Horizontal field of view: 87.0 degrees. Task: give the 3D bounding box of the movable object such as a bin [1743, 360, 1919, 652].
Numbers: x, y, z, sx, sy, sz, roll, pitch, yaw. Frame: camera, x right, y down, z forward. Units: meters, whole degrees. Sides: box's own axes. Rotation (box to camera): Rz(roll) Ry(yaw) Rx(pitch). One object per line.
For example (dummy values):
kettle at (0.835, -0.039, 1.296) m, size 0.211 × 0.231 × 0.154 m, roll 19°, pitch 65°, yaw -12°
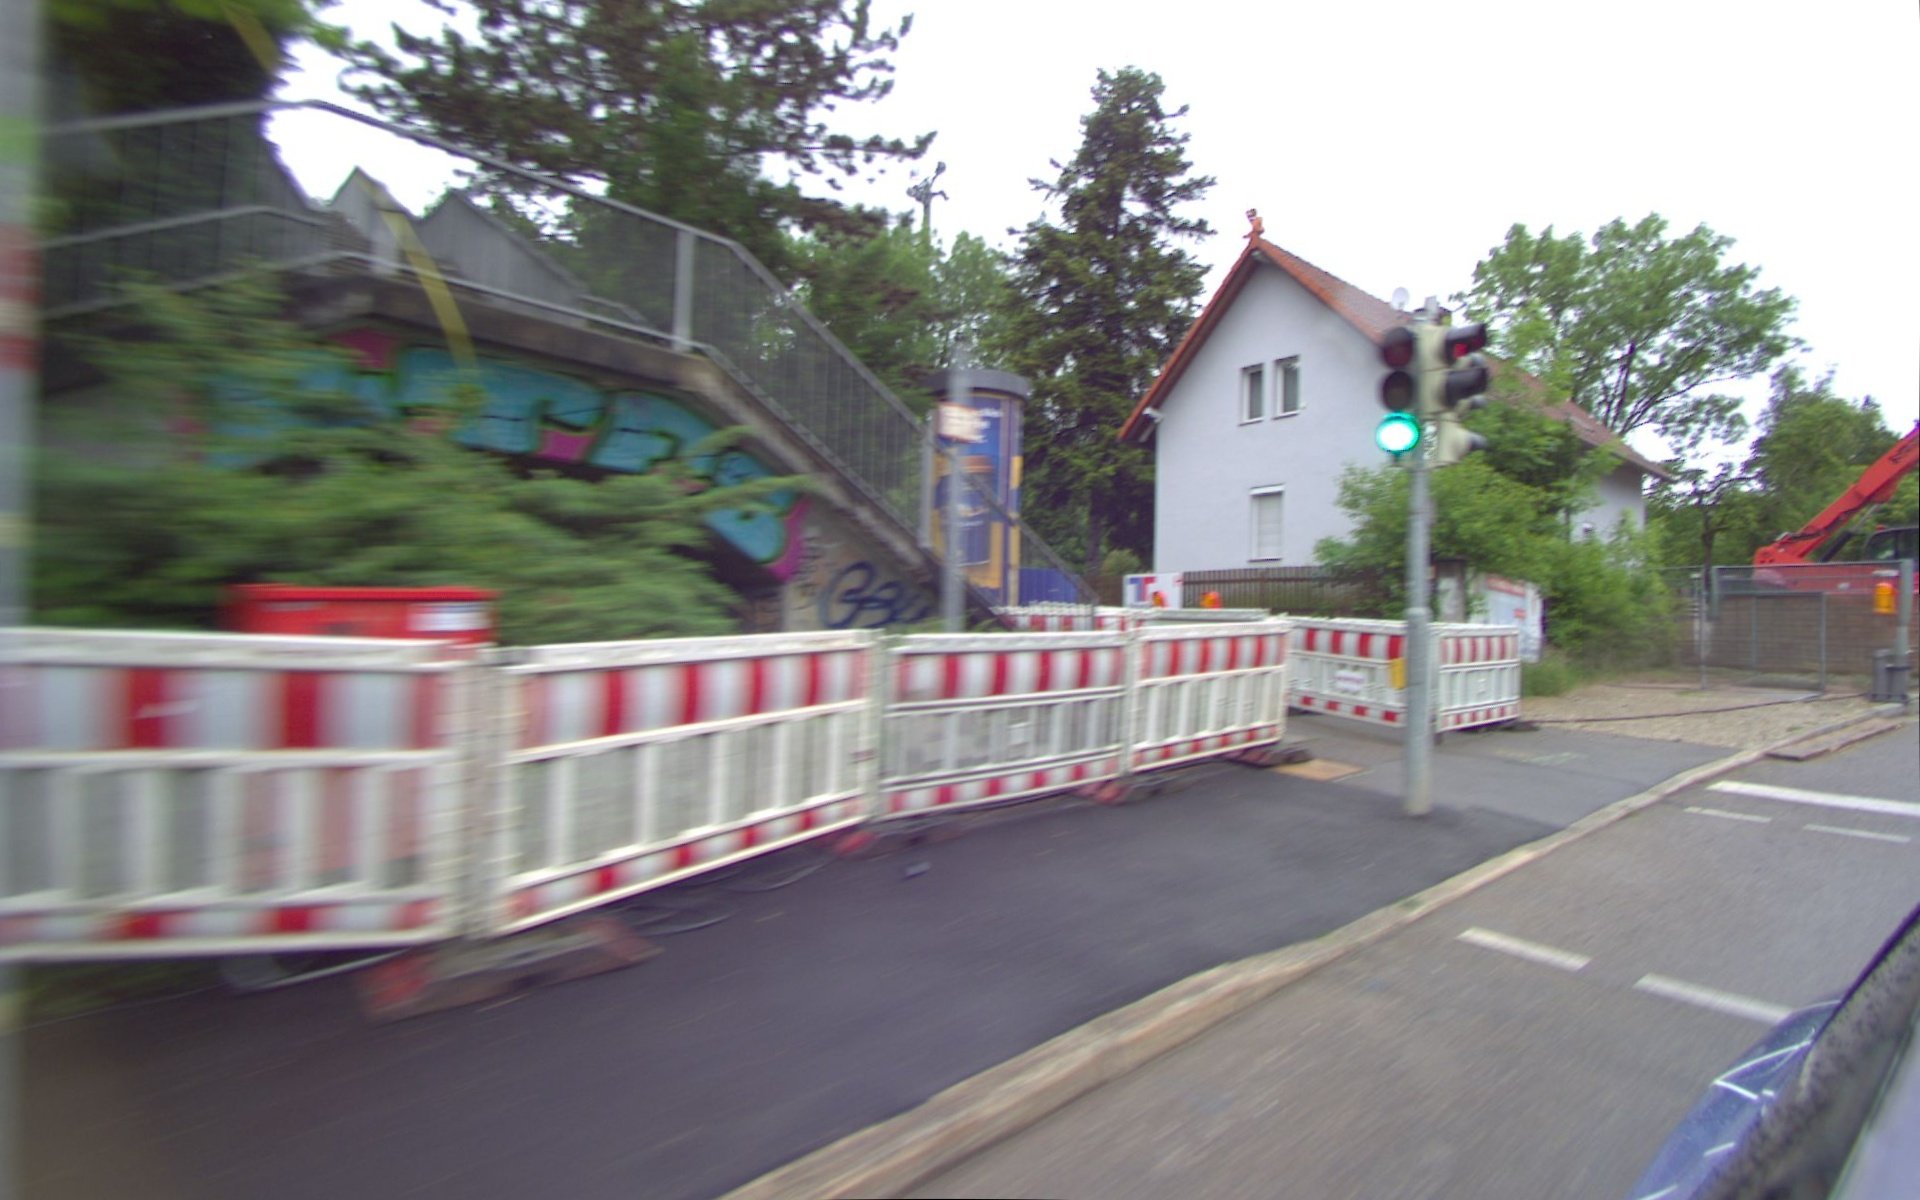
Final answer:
movable object such as a bin at (23.562, -2.204, 24.218) m, size 2.989 × 6.774 × 6.968 m, roll -1°, pitch 0°, yaw -37°
